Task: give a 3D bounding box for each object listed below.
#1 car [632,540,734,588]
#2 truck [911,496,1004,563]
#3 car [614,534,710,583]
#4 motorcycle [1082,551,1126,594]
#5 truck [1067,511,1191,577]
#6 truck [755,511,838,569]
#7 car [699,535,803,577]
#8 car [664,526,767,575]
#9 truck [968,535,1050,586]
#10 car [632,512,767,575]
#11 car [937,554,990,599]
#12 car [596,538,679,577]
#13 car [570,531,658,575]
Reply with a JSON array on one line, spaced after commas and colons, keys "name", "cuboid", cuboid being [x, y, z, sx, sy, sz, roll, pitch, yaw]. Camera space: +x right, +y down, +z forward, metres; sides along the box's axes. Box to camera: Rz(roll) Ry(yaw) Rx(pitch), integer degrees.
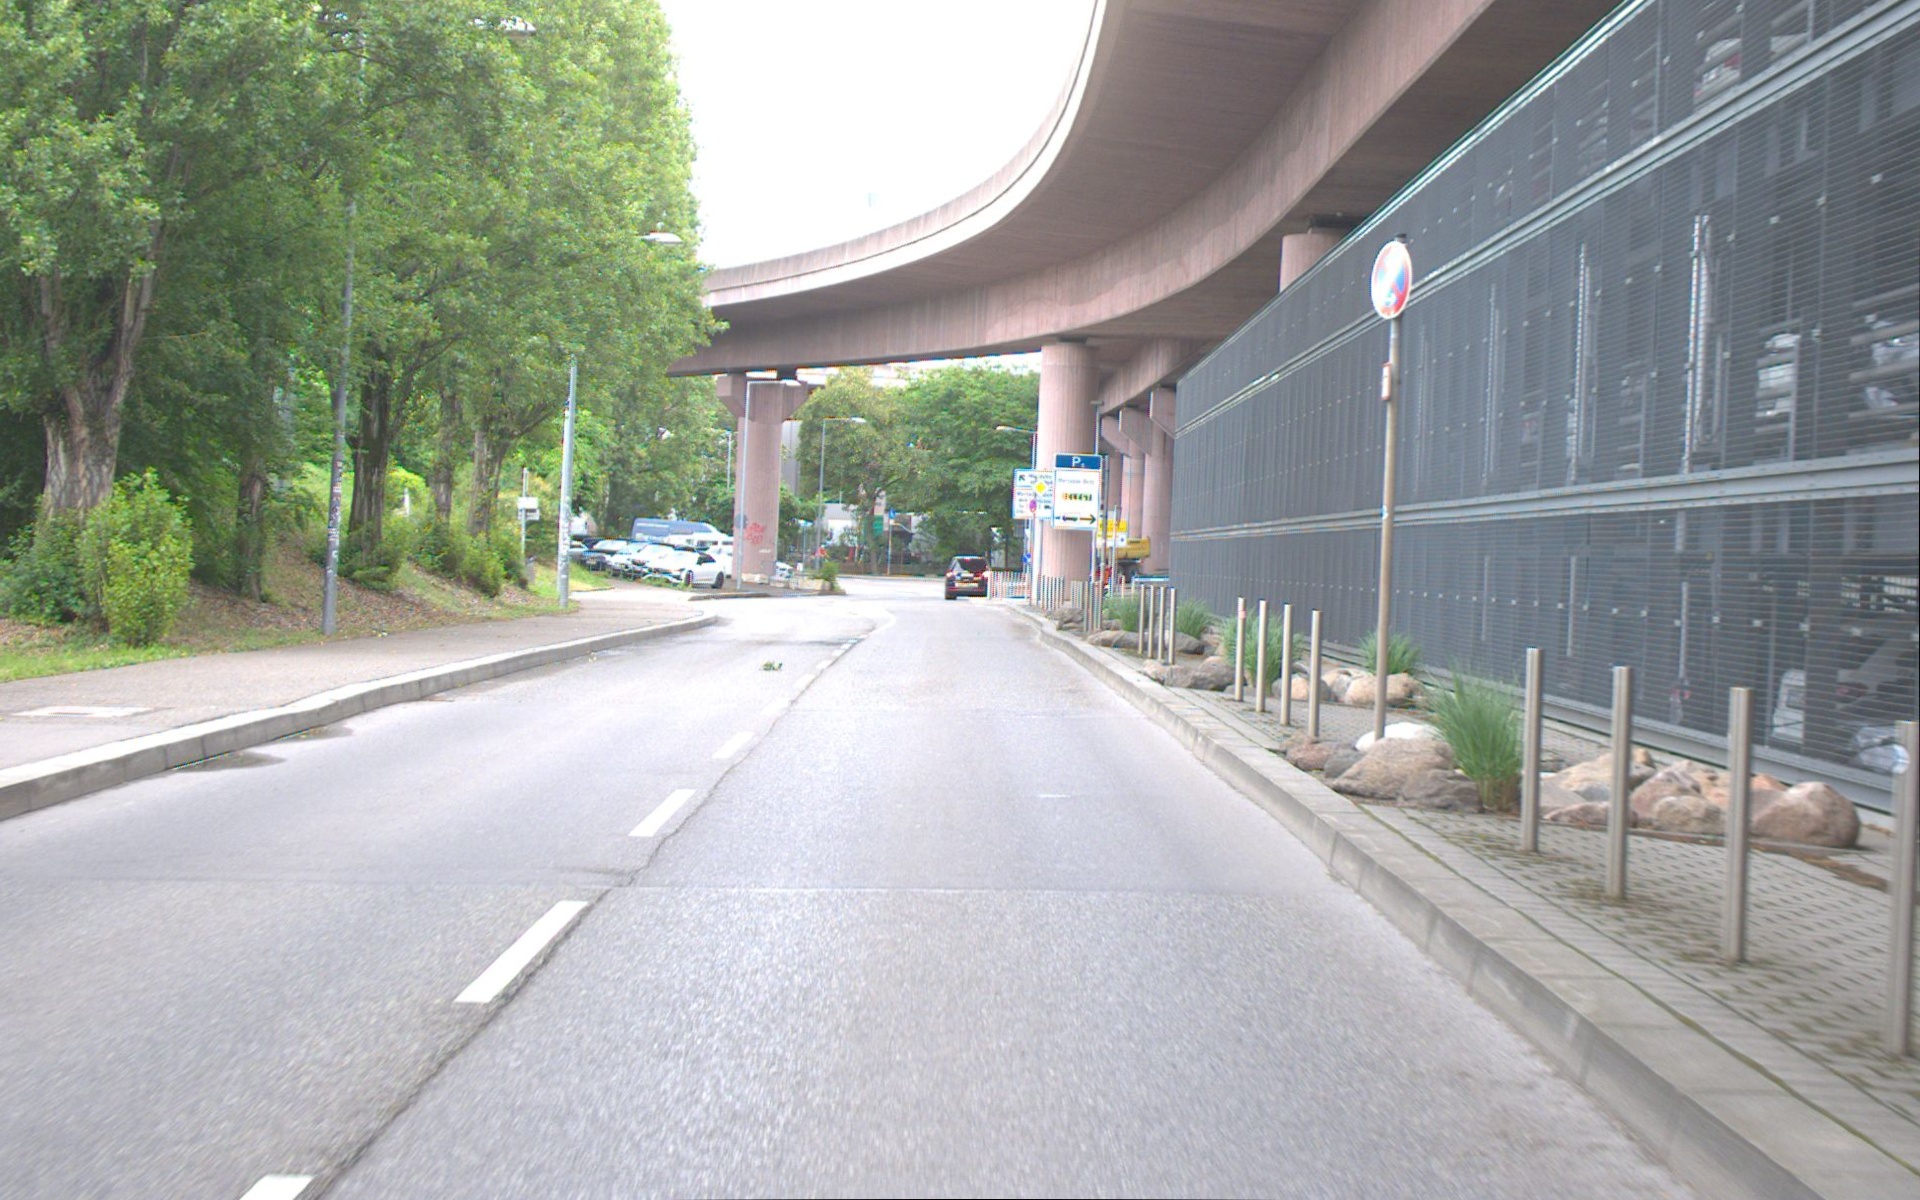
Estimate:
[{"name": "car", "cuboid": [-10.858, -1.408, 135.291, 1.996, 1.475, 4.823, 6, 0, 21]}, {"name": "truck", "cuboid": [-0.184, -4.437, 214.429, 3.065, 3.854, 8.051, 1, 3, -21]}, {"name": "car", "cuboid": [-12.040, -1.675, 139.074, 1.996, 1.577, 4.395, 7, 1, 21]}, {"name": "motorcycle", "cuboid": [4.789, -0.923, 114.467, 0.795, 1.362, 2.130, 1, 1, -17]}, {"name": "truck", "cuboid": [9.862, -3.311, 200.098, 2.933, 3.469, 8.228, 6, 5, 37]}, {"name": "truck", "cuboid": [-11.227, -4.127, 234.976, 3.054, 3.606, 7.918, 1, 3, -23]}, {"name": "car", "cuboid": [-9.703, -2.040, 159.745, 4.383, 1.600, 1.953, 5, 1, 13]}, {"name": "car", "cuboid": [-11.753, -2.362, 165.445, 4.558, 2.104, 1.850, 3, 1, 9]}, {"name": "truck", "cuboid": [3.054, -2.484, 215.646, 2.914, 2.889, 6.561, 1, 3, -21]}, {"name": "car", "cuboid": [-12.731, -2.754, 168.378, 6.176, 2.715, 2.367, 3, 1, 4]}, {"name": "car", "cuboid": [0.136, -0.943, 137.639, 1.993, 1.673, 4.561, 2, 1, -1]}, {"name": "car", "cuboid": [-13.382, -1.752, 142.637, 1.789, 1.449, 3.742, 3, 1, 24]}, {"name": "car", "cuboid": [-14.656, -1.996, 145.840, 1.859, 1.685, 4.158, 3, 0, 24]}]
